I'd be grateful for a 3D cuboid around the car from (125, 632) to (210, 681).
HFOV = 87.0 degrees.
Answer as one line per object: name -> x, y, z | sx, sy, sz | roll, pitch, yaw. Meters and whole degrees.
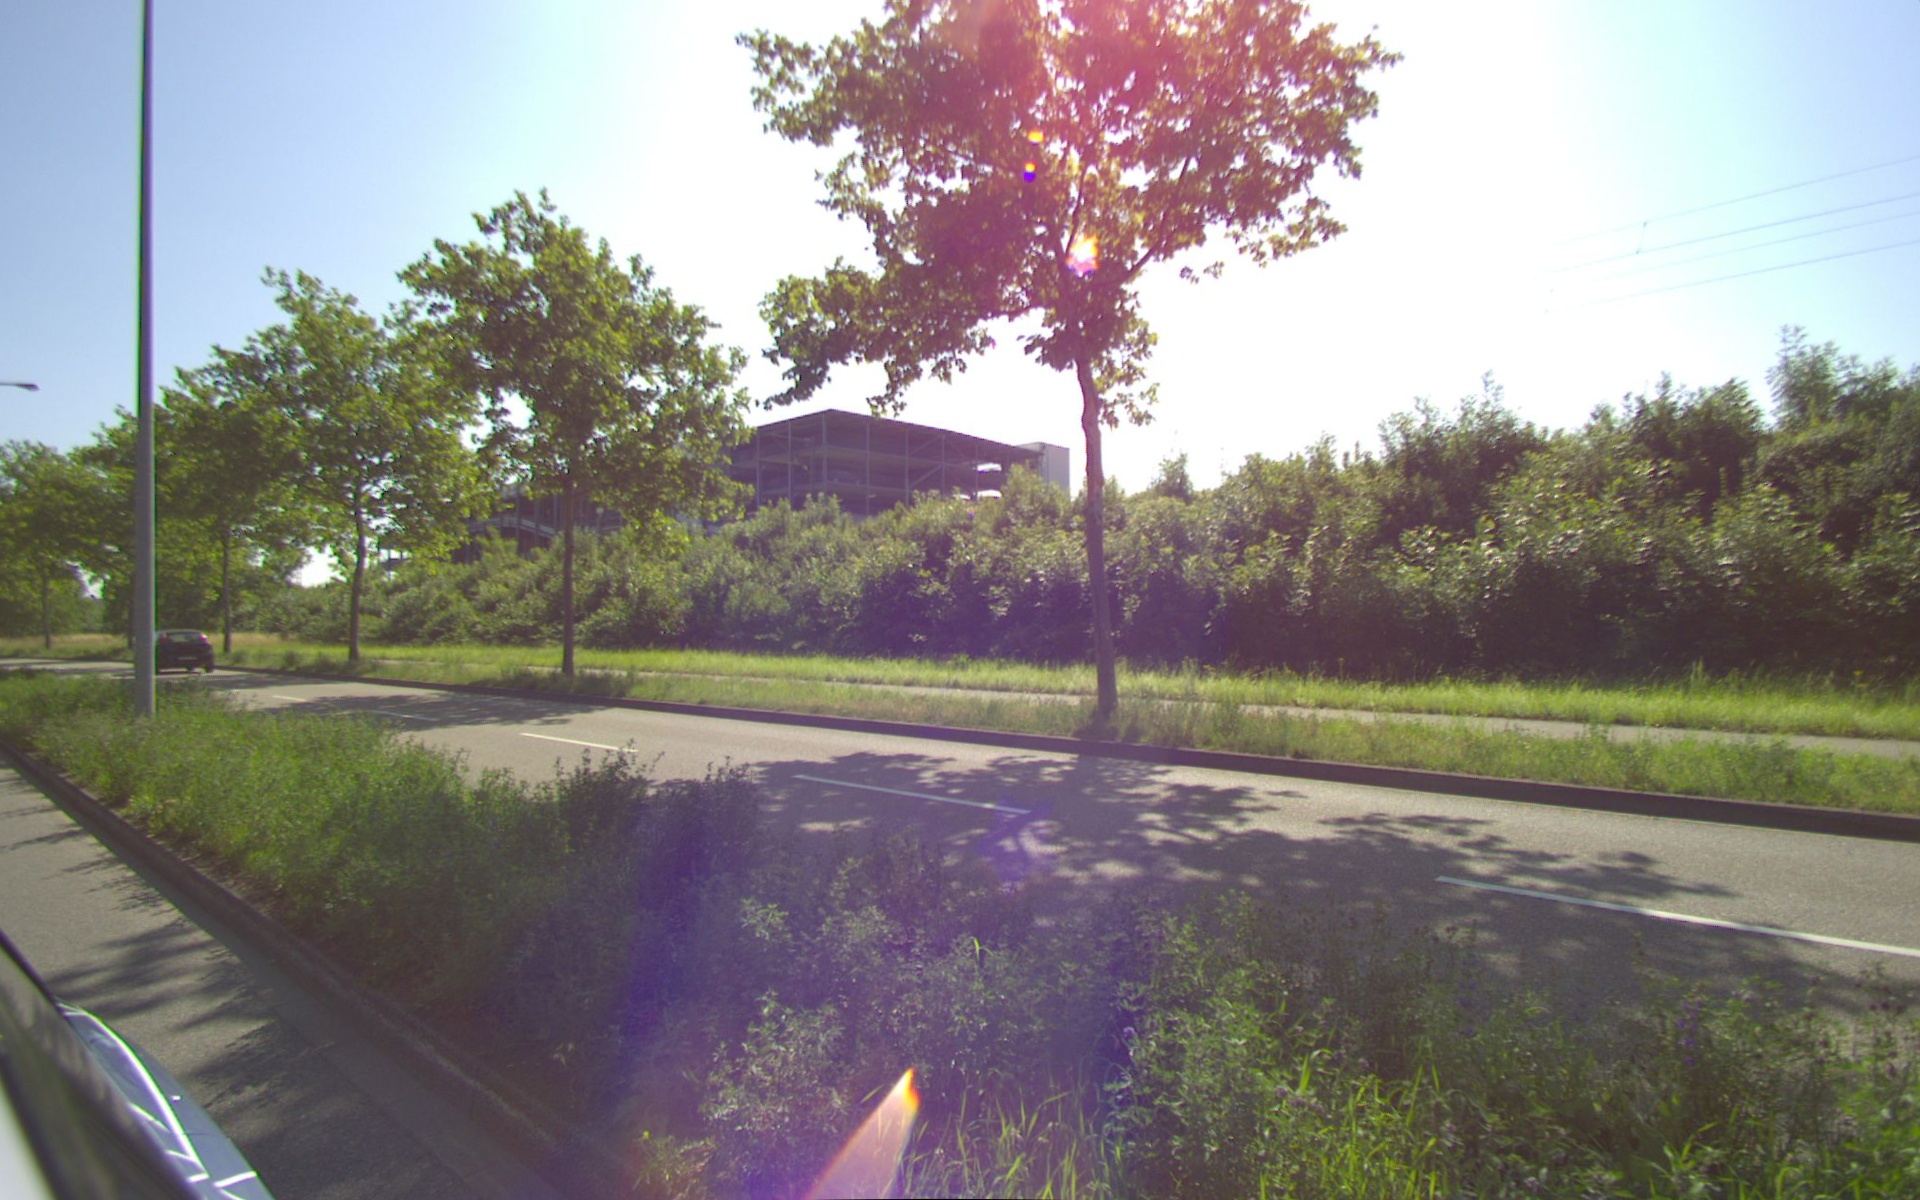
car -> -26.693, 1.852, 34.068 | 3.925, 1.481, 1.554 | -1, -1, 41
